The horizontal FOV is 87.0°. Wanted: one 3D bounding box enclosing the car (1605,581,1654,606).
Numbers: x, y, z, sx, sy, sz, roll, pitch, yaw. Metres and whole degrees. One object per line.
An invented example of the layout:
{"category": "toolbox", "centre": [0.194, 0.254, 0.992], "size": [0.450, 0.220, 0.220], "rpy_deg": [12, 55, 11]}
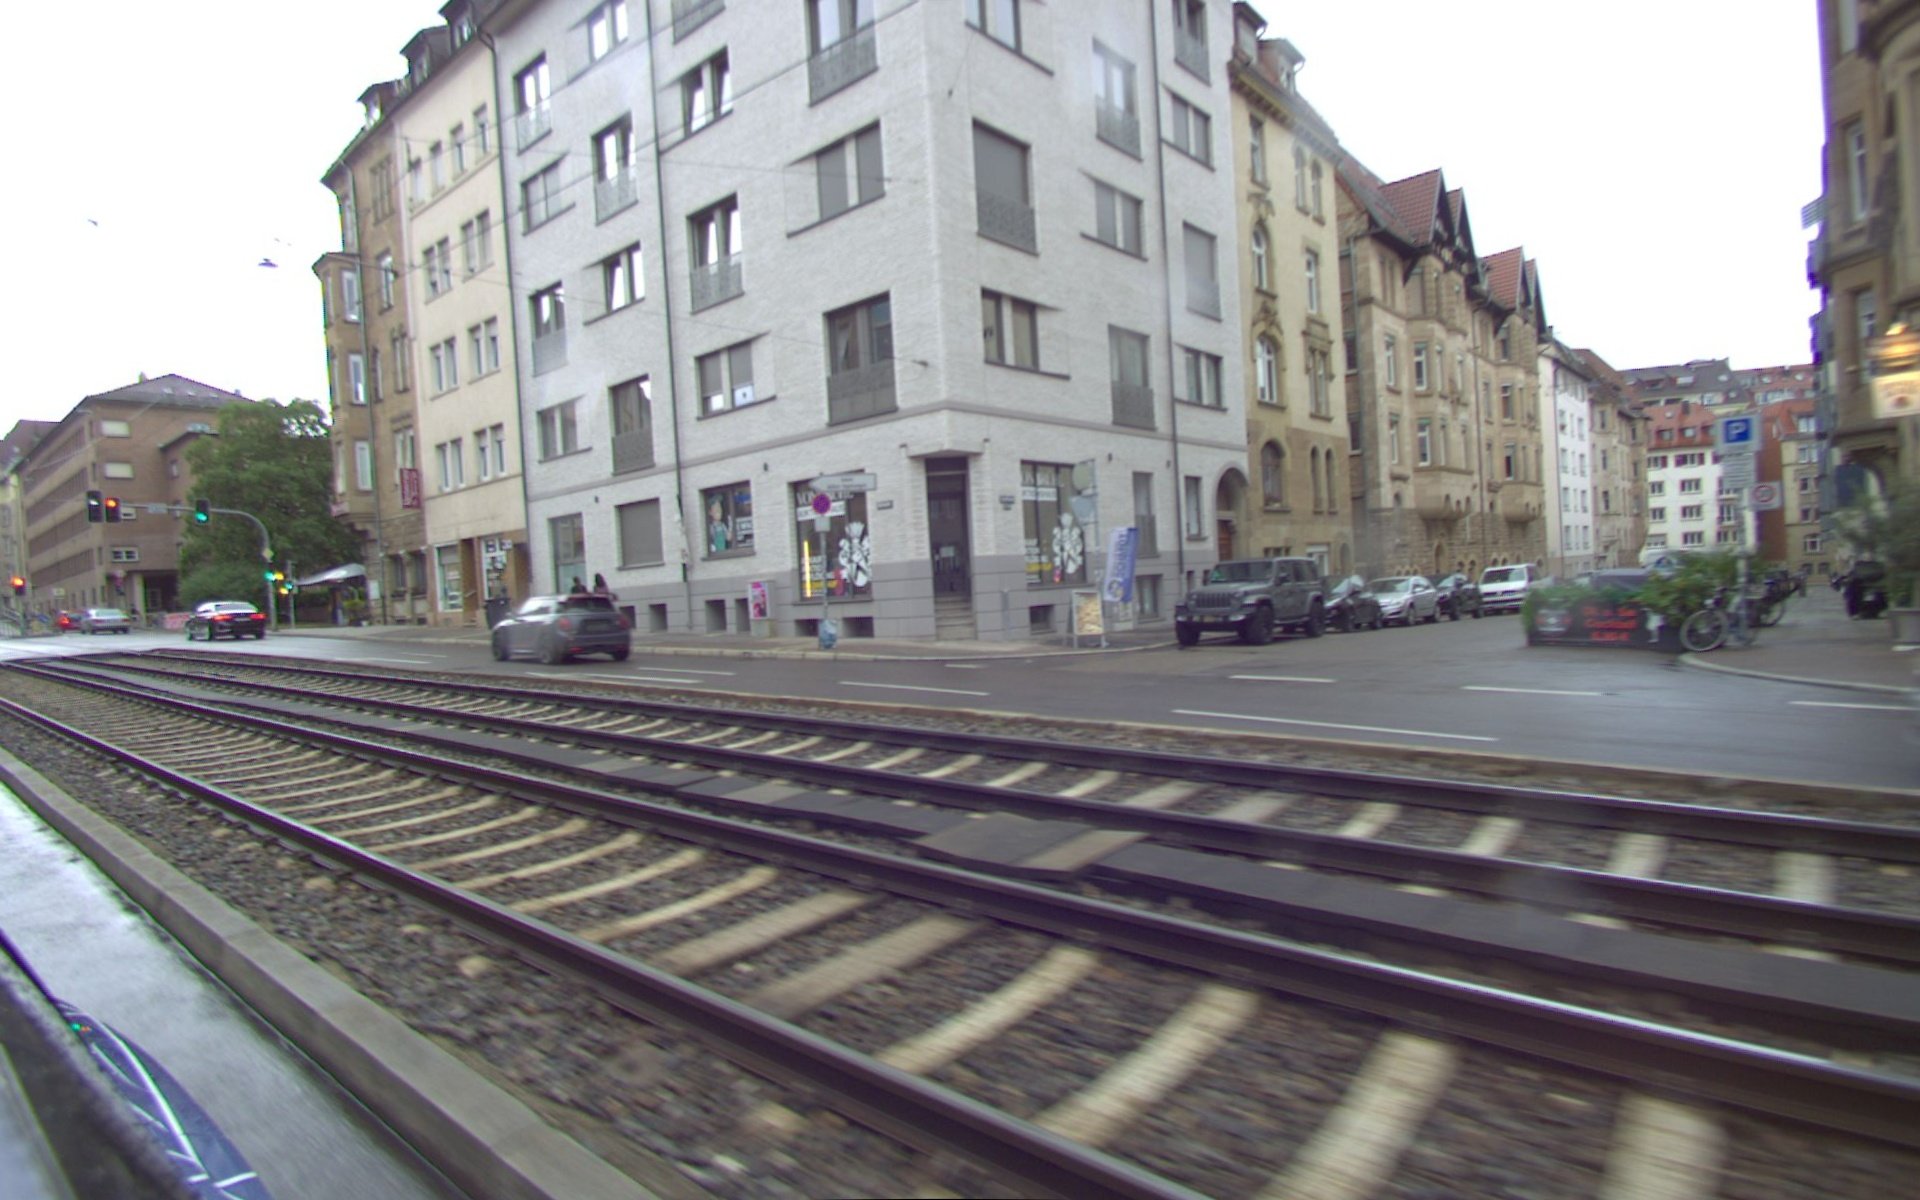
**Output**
{"category": "car", "centre": [39.287, -0.383, 59.368], "size": [1.705, 1.401, 4.398], "rpy_deg": [-1, 0, 42]}

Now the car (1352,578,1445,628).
{"category": "car", "centre": [12.730, 0.072, 29.283], "size": [1.430, 1.360, 3.800], "rpy_deg": [-1, 0, 40]}

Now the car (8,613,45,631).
{"category": "car", "centre": [-75.042, 1.752, 81.310], "size": [3.943, 1.346, 1.759], "rpy_deg": [-1, 1, 41]}

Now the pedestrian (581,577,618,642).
{"category": "pedestrian", "centre": [-9.986, 0.255, 28.045], "size": [0.658, 1.730, 0.595], "rpy_deg": [-1, 4, 44]}

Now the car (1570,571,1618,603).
{"category": "car", "centre": [35.378, -0.715, 56.417], "size": [1.704, 1.669, 4.145], "rpy_deg": [-1, 0, 40]}

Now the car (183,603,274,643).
{"category": "car", "centre": [-29.411, 0.908, 40.643], "size": [4.860, 1.468, 2.065], "rpy_deg": [-1, 0, 43]}

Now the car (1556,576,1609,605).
{"category": "car", "centre": [32.139, -0.464, 52.198], "size": [1.704, 1.401, 4.401], "rpy_deg": [-1, 0, 40]}

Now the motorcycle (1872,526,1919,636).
{"category": "motorcycle", "centre": [14.752, -0.287, 15.796], "size": [0.623, 1.631, 2.055], "rpy_deg": [-1, 0, 39]}

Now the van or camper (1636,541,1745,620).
{"category": "van or camper", "centre": [18.172, -0.428, 25.114], "size": [1.941, 1.788, 3.914], "rpy_deg": [-1, -1, 39]}

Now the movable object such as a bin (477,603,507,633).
{"category": "movable object such as a bin", "centre": [-15.755, 0.597, 34.070], "size": [0.563, 0.934, 0.623], "rpy_deg": [-1, 5, 41]}

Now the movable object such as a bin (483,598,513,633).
{"category": "movable object such as a bin", "centre": [-15.329, 0.505, 33.562], "size": [0.563, 1.088, 0.623], "rpy_deg": [-1, 5, 41]}

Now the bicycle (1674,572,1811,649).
{"category": "bicycle", "centre": [12.041, 0.152, 15.574], "size": [2.100, 1.128, 0.622], "rpy_deg": [-1, -1, -20]}

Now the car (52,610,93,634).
{"category": "car", "centre": [-58.926, 1.454, 67.203], "size": [3.386, 1.461, 1.610], "rpy_deg": [-1, 1, 41]}

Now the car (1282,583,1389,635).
{"category": "car", "centre": [9.599, 0.203, 25.738], "size": [1.430, 1.233, 3.477], "rpy_deg": [-1, 0, 40]}

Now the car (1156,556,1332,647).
{"category": "car", "centre": [6.214, -0.029, 21.785], "size": [2.032, 1.741, 4.647], "rpy_deg": [-1, 1, 38]}

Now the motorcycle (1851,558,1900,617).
{"category": "motorcycle", "centre": [20.361, -0.266, 22.537], "size": [0.706, 1.240, 2.054], "rpy_deg": [-1, 0, 40]}

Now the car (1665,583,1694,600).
{"category": "car", "centre": [63.399, -0.772, 89.180], "size": [1.704, 1.401, 4.401], "rpy_deg": [-1, 0, 40]}

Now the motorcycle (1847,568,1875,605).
{"category": "motorcycle", "centre": [31.158, -0.469, 35.001], "size": [0.636, 1.240, 2.054], "rpy_deg": [-1, 0, 40]}

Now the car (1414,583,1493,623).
{"category": "car", "centre": [16.028, 0.089, 32.781], "size": [1.431, 1.233, 3.476], "rpy_deg": [-1, 0, 41]}

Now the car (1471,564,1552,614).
{"category": "car", "centre": [22.303, -0.441, 40.821], "size": [1.948, 1.884, 4.734], "rpy_deg": [-1, 0, 40]}

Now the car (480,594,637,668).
{"category": "car", "centre": [-8.590, 0.621, 21.527], "size": [3.782, 1.398, 1.686], "rpy_deg": [-1, 0, 44]}

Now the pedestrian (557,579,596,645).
{"category": "pedestrian", "centre": [-10.432, 0.312, 27.542], "size": [0.746, 1.730, 0.595], "rpy_deg": [-1, 4, 44]}

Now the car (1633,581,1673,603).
{"category": "car", "centre": [45.485, -0.522, 66.416], "size": [1.704, 1.401, 4.401], "rpy_deg": [-1, 0, 40]}

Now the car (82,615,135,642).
{"category": "car", "centre": [-49.914, 1.636, 59.286], "size": [4.642, 1.472, 1.695], "rpy_deg": [-1, 1, 42]}
